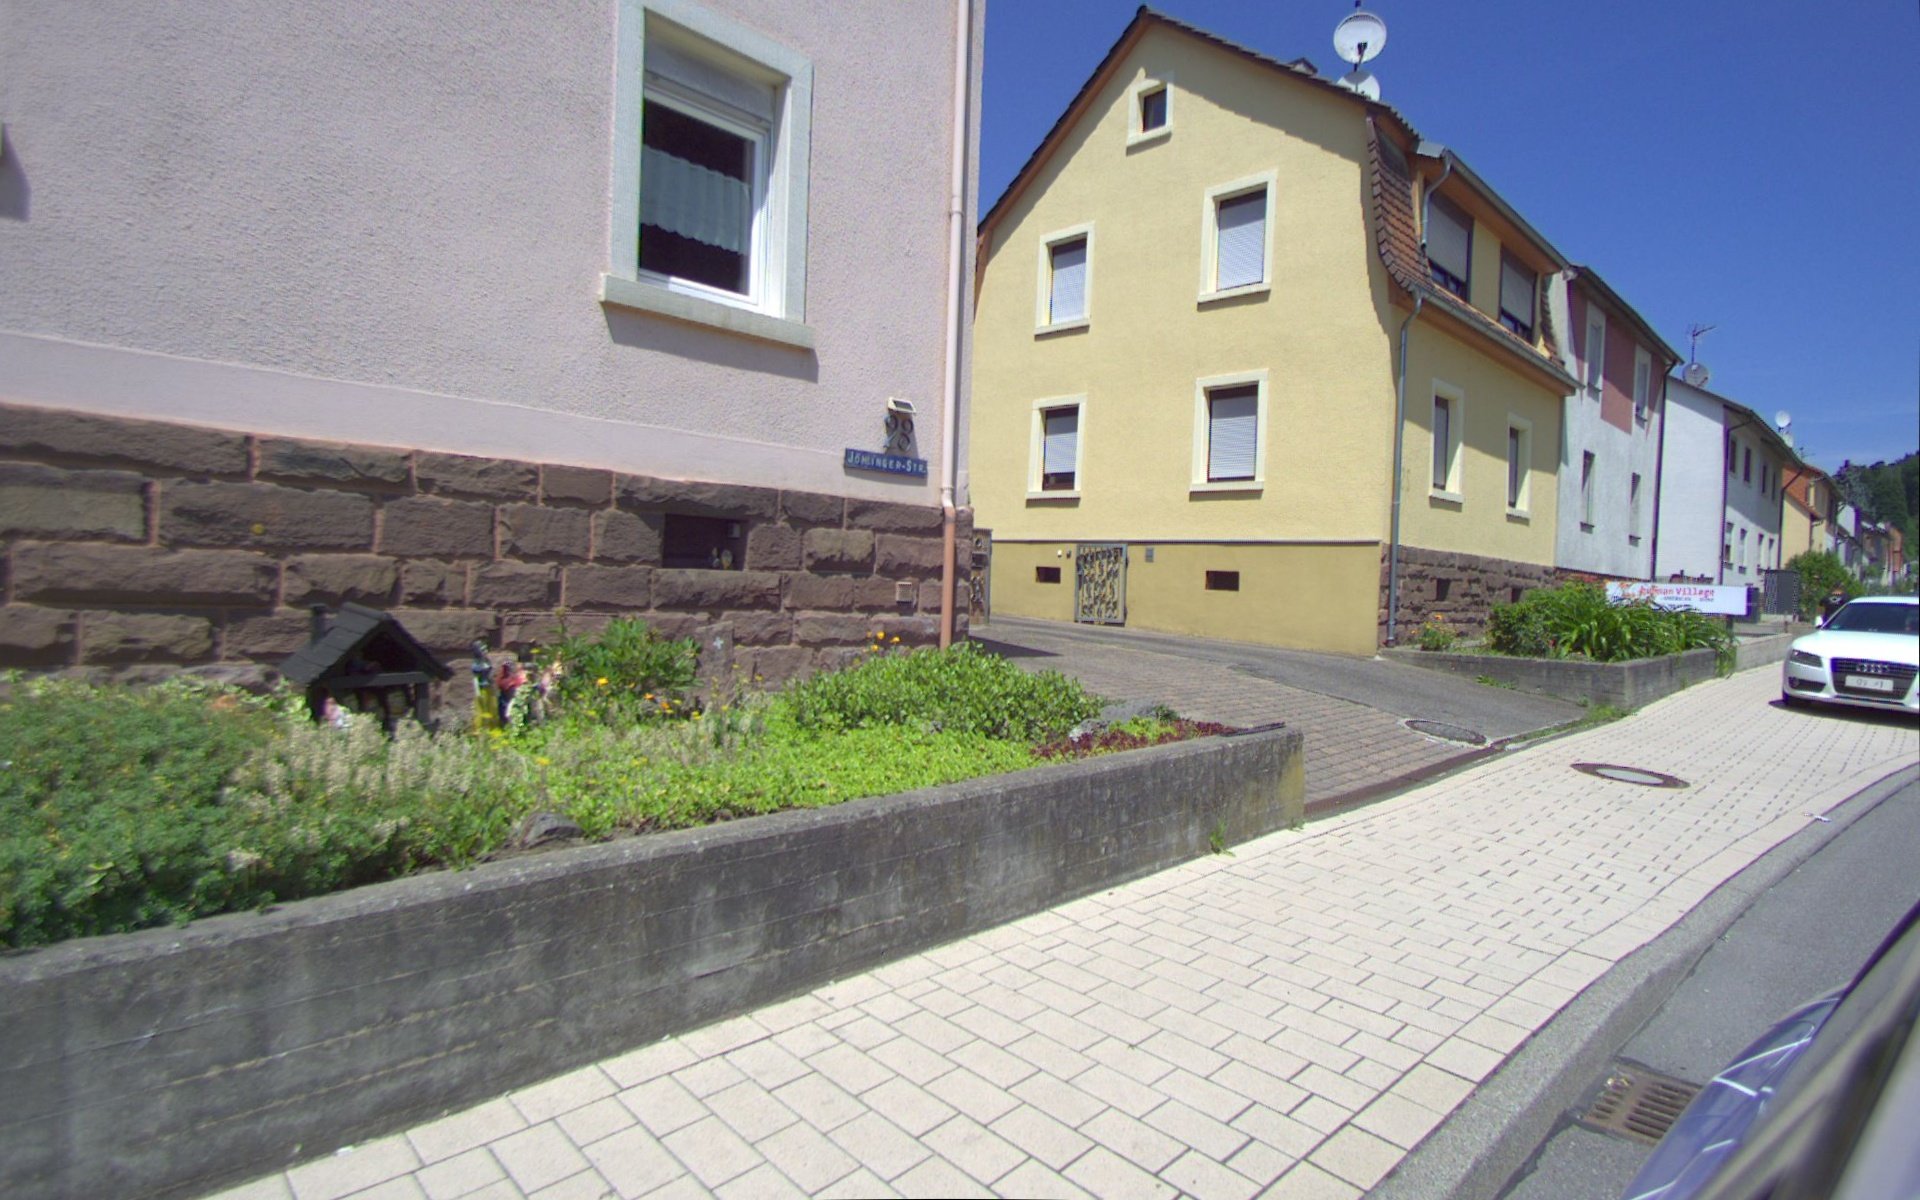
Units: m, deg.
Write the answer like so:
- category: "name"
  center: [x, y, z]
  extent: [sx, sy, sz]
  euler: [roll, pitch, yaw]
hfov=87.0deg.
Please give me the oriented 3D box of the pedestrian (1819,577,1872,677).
- category: "pedestrian"
  center: [18.595, 0.533, 21.258]
  extent: [1.016, 2.039, 0.747]
  euler: [-1, 0, -44]

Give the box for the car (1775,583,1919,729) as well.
- category: "car"
  center: [11.721, 0.579, 12.354]
  extent: [4.549, 1.435, 1.761]
  euler: [-1, 4, -39]

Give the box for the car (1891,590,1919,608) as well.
- category: "car"
  center: [95.676, -0.100, 102.317]
  extent: [4.434, 1.640, 1.866]
  euler: [-1, 6, -44]
